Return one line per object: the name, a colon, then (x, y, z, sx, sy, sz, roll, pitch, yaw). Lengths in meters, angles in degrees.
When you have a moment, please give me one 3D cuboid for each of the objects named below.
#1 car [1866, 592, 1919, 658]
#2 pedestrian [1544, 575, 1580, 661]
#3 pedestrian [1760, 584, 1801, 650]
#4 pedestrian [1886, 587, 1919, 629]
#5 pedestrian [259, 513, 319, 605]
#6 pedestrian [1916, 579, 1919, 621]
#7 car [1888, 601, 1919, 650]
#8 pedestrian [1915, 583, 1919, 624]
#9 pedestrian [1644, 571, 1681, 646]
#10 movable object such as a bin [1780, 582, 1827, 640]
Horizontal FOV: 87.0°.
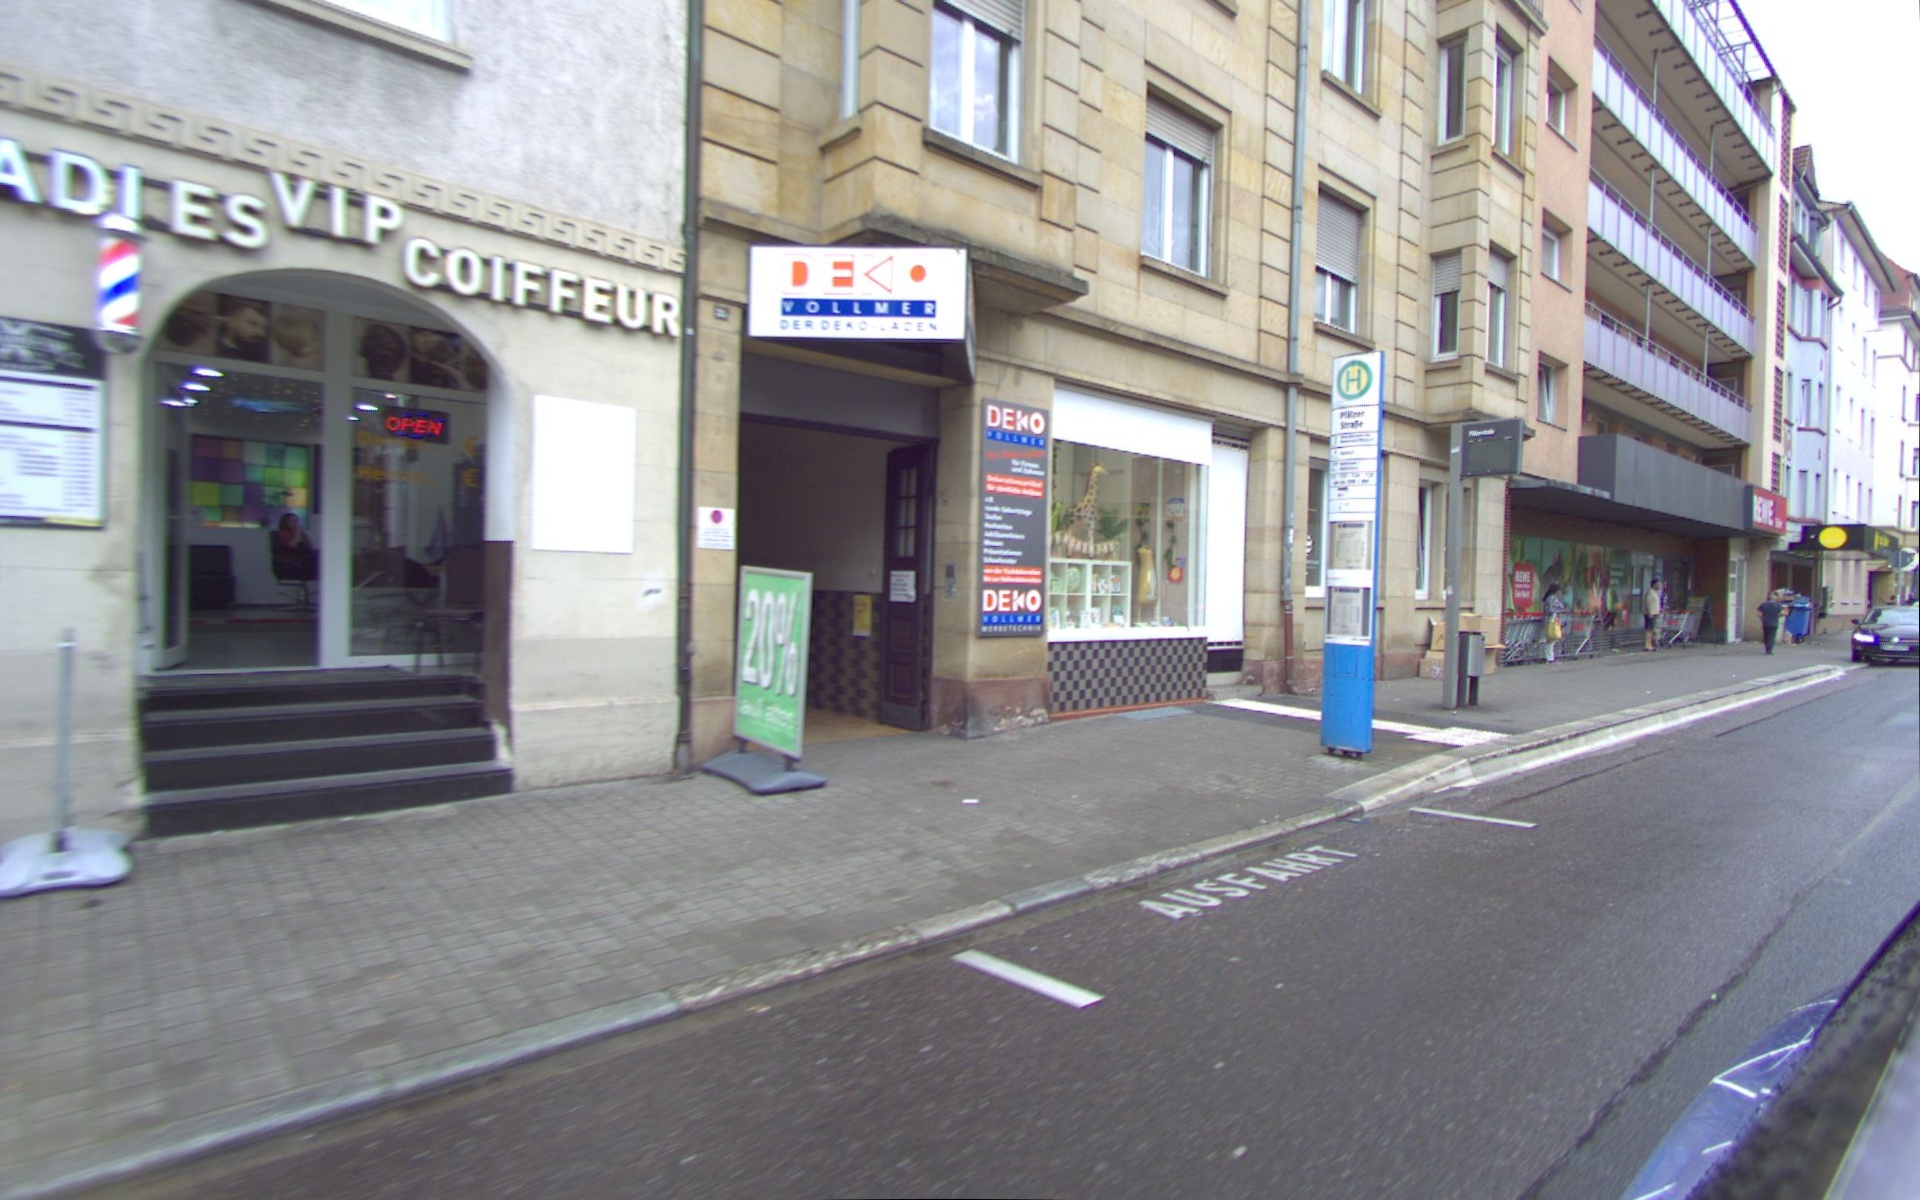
car: (24.348, 0.593, 25.576, 3.912, 1.567, 1.733, 0, 0, -41)
pedestrian: (11.463, 0.332, 19.266, 0.558, 1.592, 0.620, 1, 0, 32)
pedestrian: (21.726, 0.447, 26.799, 0.736, 1.671, 0.627, 1, 3, -42)
pedestrian: (38.515, 0.318, 41.246, 0.767, 1.667, 0.705, 2, 2, -7)
pedestrian: (-8.776, -0.528, 13.251, 0.517, 1.181, 0.475, -1, -1, -16)
pedestrian: (38.954, 0.032, 40.410, 0.767, 1.667, 0.705, 2, 2, -7)
car: (28.396, 0.712, 29.331, 3.700, 1.327, 1.738, -1, -1, -40)
pedestrian: (42.208, 0.175, 44.171, 0.686, 1.770, 0.610, 0, 2, -41)
pedestrian: (17.948, 0.205, 25.864, 0.714, 1.882, 0.597, -1, 1, -38)
movable object such as a bin: (27.229, 0.323, 32.670, 1.275, 1.815, 1.000, -1, 2, -44)
